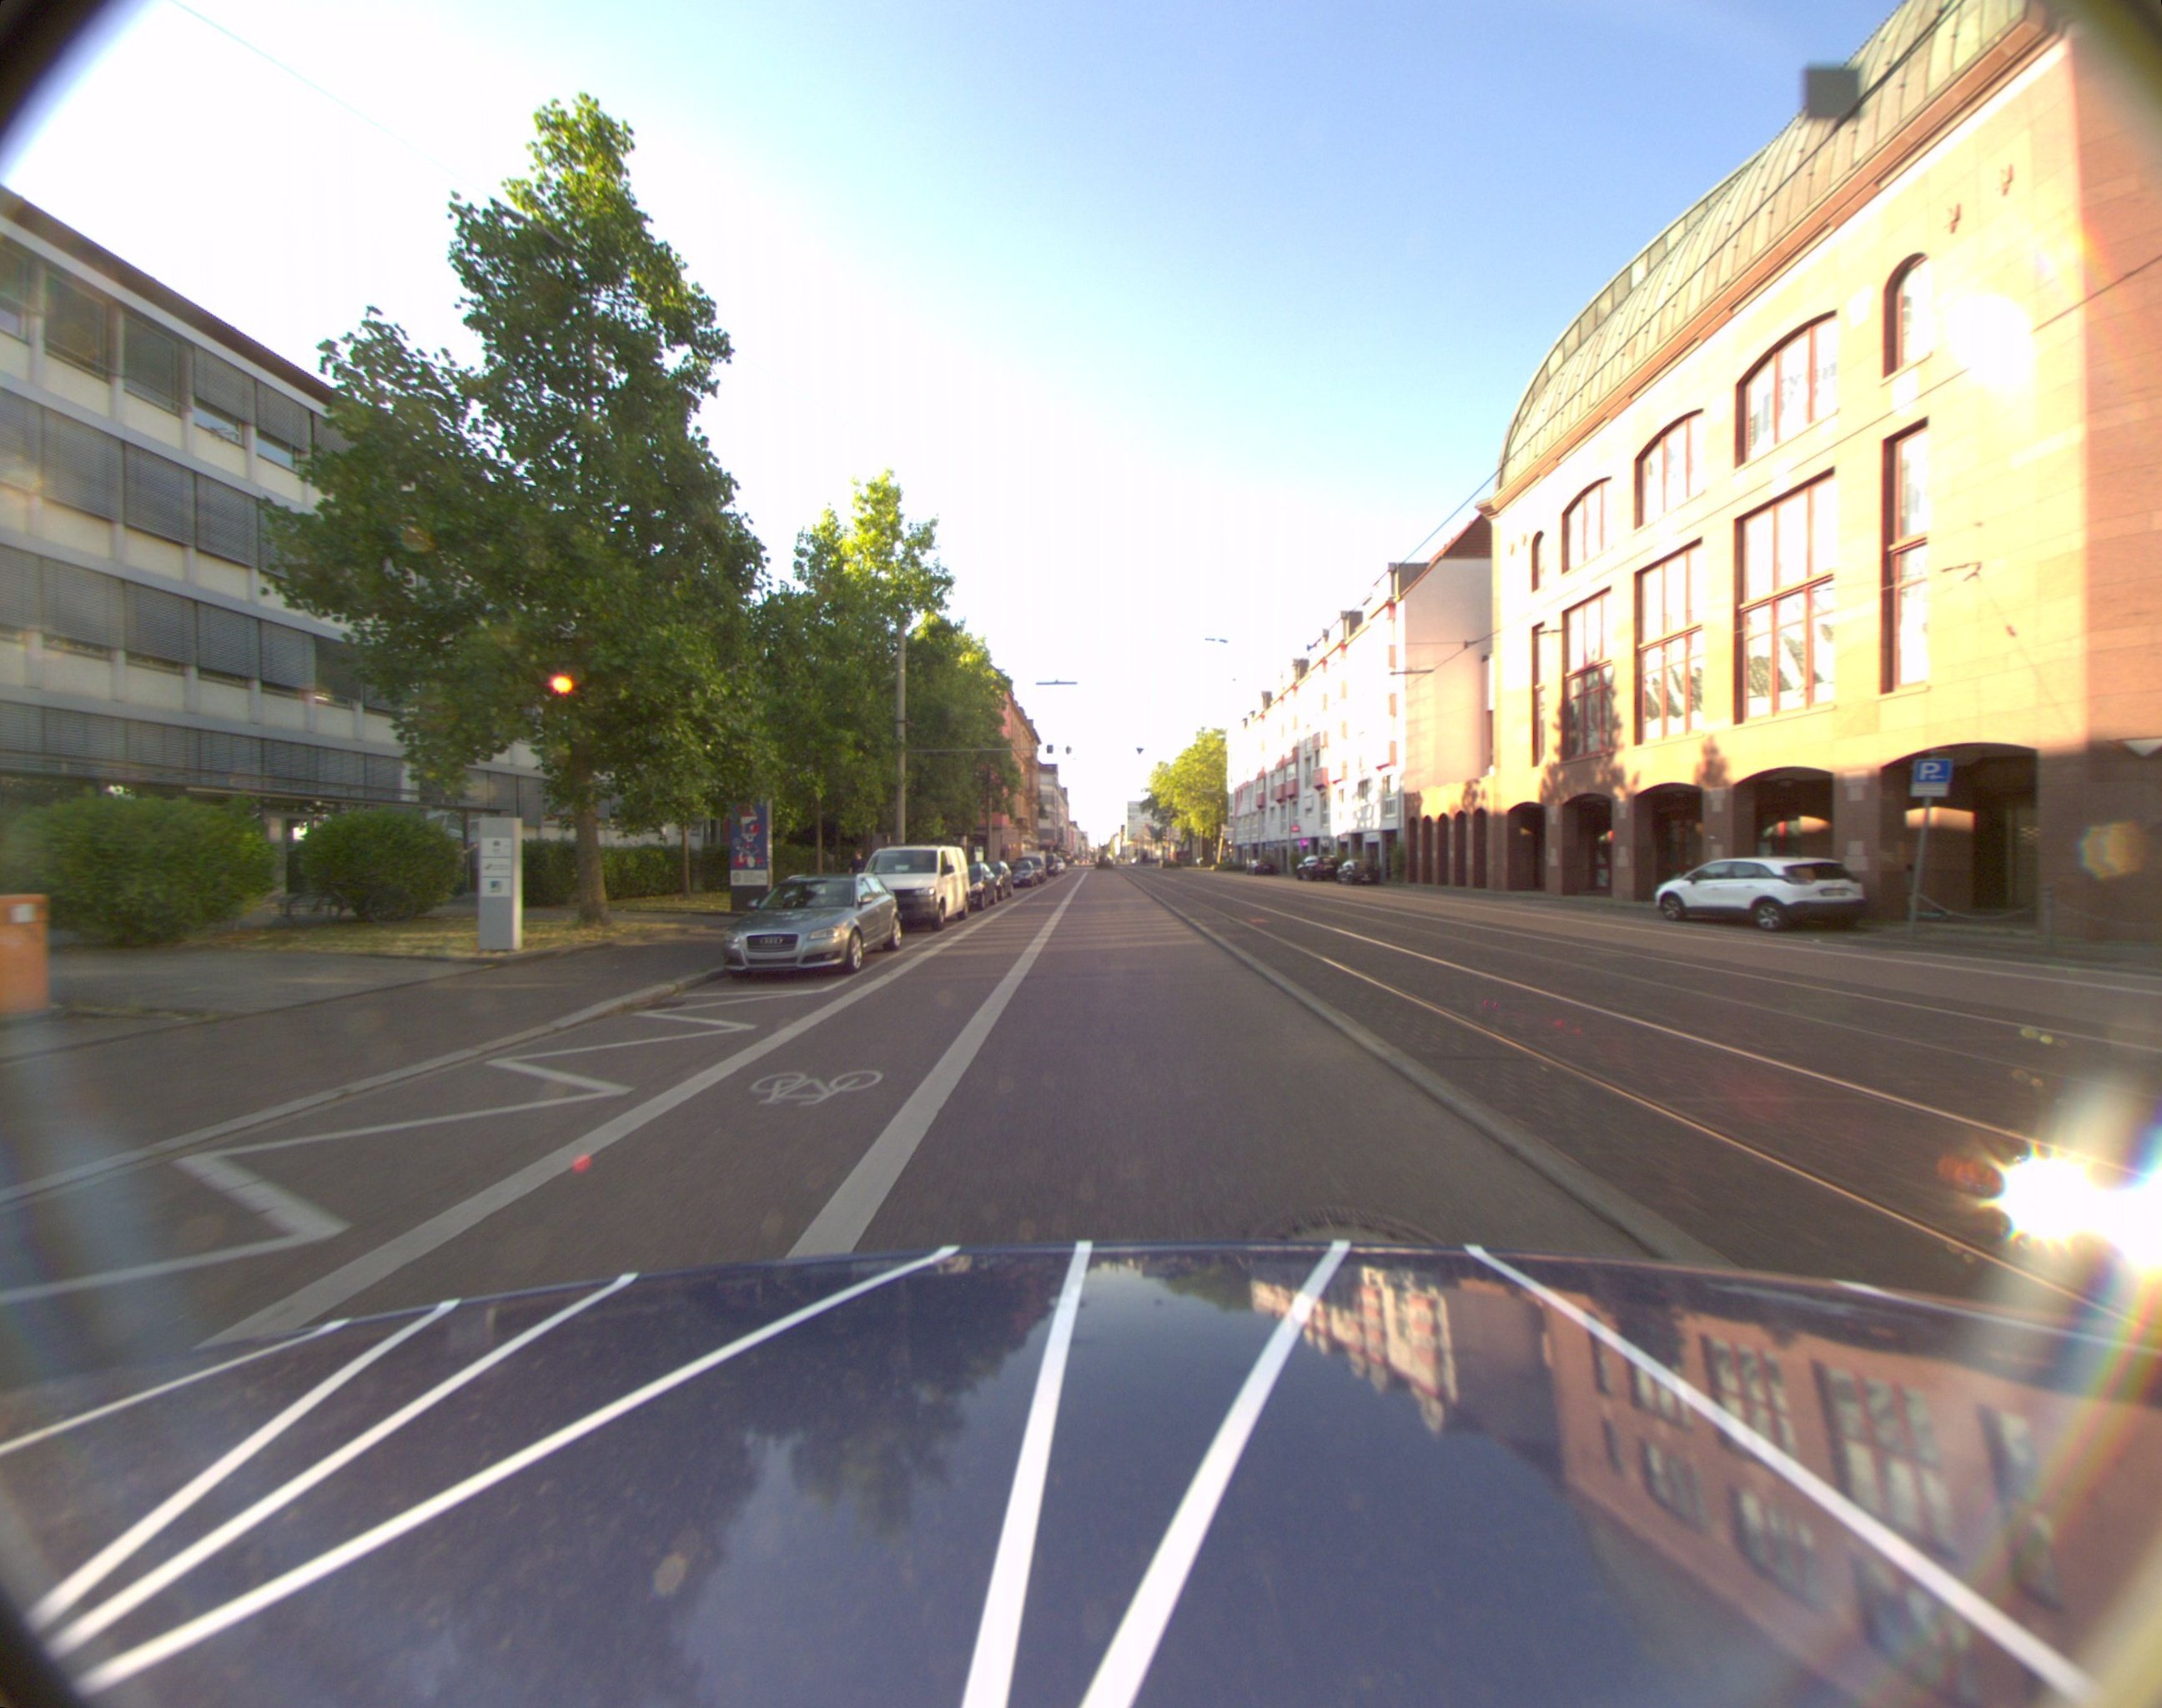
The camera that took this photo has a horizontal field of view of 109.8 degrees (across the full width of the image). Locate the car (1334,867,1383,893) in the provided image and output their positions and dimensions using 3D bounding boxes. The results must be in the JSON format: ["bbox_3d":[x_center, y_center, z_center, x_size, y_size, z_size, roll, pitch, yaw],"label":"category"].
[{"bbox_3d":[16.224,1.490,44.645,1.646,1.392,3.683,-1,0,2],"label":"car"}]

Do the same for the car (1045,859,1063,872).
[{"bbox_3d":[-2.495,1.045,70.490,1.420,1.183,3.086,-1,0,1],"label":"car"}]

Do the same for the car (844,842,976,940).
[{"bbox_3d":[-3.911,0.784,18.318,1.881,2.009,4.906,-1,0,2],"label":"car"}]

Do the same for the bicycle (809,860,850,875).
[{"bbox_3d":[-18.732,0.993,56.612,2.805,1.052,0.822,0,0,-3],"label":"bicycle"}]

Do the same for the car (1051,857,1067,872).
[{"bbox_3d":[-2.163,0.998,75.462,1.420,1.425,3.872,-1,0,1],"label":"car"}]

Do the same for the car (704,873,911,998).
[{"bbox_3d":[-4.009,1.110,11.923,1.678,1.396,4.166,-2,1,0],"label":"car"}]

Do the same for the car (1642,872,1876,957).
[{"bbox_3d":[15.560,1.294,17.792,1.599,1.581,4.277,-2,0,0],"label":"car"}]

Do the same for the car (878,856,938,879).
[{"bbox_3d":[-13.788,1.080,60.701,4.367,1.662,1.589,2,0,-3],"label":"car"}]

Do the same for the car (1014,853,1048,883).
[{"bbox_3d":[-3.109,0.842,47.896,1.784,1.735,4.475,-1,0,1],"label":"car"}]

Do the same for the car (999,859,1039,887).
[{"bbox_3d":[-3.335,0.994,41.655,1.784,1.420,4.212,-1,0,1],"label":"car"}]

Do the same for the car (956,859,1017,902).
[{"bbox_3d":[-3.574,0.975,29.333,1.597,1.485,3.902,-1,0,3],"label":"car"}]

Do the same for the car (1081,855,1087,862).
[{"bbox_3d":[0.667,1.080,191.808,1.420,1.612,3.627,-1,0,1],"label":"car"}]

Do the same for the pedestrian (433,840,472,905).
[{"bbox_3d":[-16.490,0.476,19.953,0.568,1.680,0.548,0,1,7],"label":"pedestrian"}]

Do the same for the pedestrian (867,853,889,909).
[{"bbox_3d":[-6.316,0.843,23.639,0.494,1.703,0.437,2,1,1],"label":"pedestrian"}]

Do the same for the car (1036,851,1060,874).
[{"bbox_3d":[-2.733,0.700,63.840,1.697,1.832,4.695,-1,0,1],"label":"car"}]

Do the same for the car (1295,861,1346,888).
[{"bbox_3d":[16.130,1.355,51.349,1.964,1.690,4.560,-1,0,0],"label":"car"}]

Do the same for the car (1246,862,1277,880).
[{"bbox_3d":[16.666,1.556,70.354,1.829,1.500,4.561,-1,0,2],"label":"car"}]

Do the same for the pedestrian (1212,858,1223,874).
[{"bbox_3d":[15.406,1.332,85.984,1.096,1.768,1.253,1,0,6],"label":"pedestrian"}]

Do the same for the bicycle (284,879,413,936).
[{"bbox_3d":[-13.210,0.953,13.748,1.622,0.954,0.367,0,1,-28],"label":"bicycle"}]

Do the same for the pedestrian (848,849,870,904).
[{"bbox_3d":[-6.920,0.700,23.740,0.494,1.703,0.437,2,1,1],"label":"pedestrian"}]

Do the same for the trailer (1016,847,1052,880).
[{"bbox_3d":[-3.211,0.636,52.793,1.783,2.136,5.316,-1,0,4],"label":"trailer"}]

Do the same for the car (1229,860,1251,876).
[{"bbox_3d":[17.951,1.534,85.901,1.931,1.787,4.385,0,0,4],"label":"car"}]

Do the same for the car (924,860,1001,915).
[{"bbox_3d":[-3.687,1.012,24.313,1.687,1.484,3.911,-2,1,2],"label":"car"}]

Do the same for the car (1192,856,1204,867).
[{"bbox_3d":[16.658,1.057,108.113,1.383,1.664,2.882,0,0,2],"label":"car"}]
